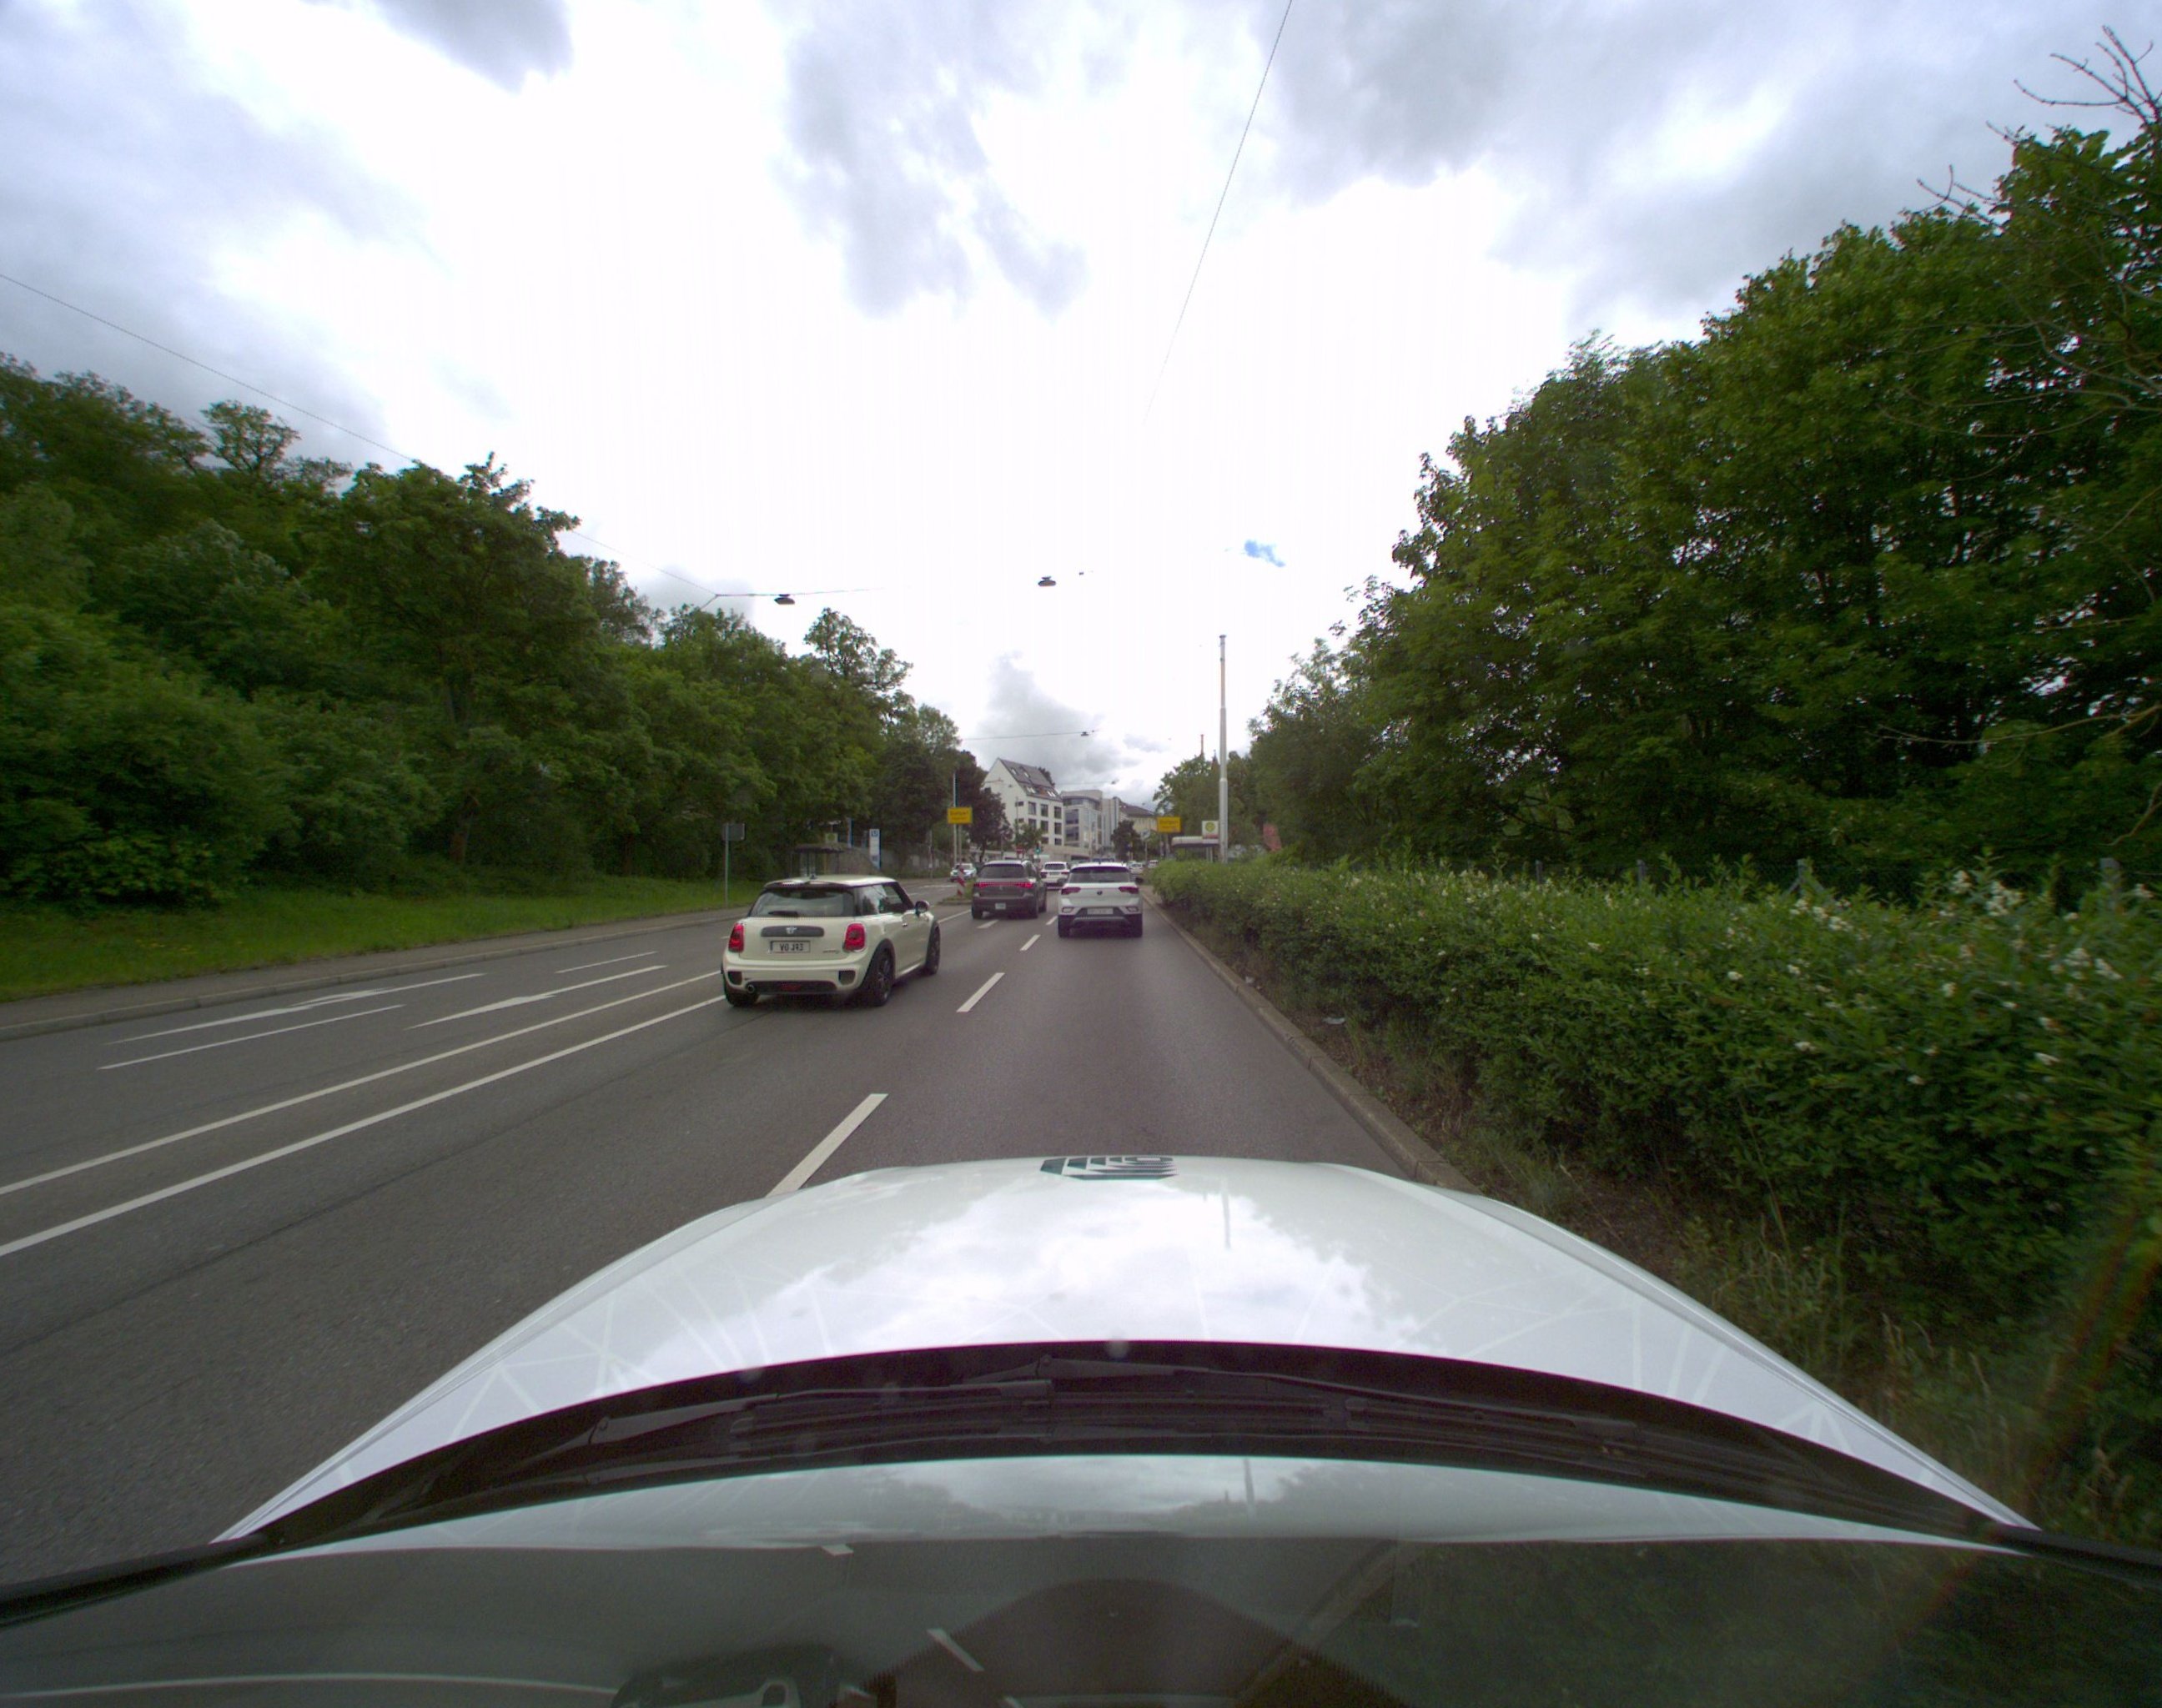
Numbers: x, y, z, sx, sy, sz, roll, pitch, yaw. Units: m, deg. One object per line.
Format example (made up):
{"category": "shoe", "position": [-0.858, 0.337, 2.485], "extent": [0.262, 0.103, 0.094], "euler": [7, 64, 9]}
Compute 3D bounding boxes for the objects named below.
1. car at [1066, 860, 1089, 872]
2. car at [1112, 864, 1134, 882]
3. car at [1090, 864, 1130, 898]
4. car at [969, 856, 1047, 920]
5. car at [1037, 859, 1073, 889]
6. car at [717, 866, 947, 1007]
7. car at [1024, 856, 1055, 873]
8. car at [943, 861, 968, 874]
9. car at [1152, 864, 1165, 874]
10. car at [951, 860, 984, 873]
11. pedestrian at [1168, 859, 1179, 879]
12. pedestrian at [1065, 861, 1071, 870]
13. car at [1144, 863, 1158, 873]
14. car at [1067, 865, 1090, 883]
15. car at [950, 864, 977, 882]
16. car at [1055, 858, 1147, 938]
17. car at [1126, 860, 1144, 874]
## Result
{"category": "car", "position": [-0.547, 2.015, 139.689], "extent": [1.965, 1.967, 5.246], "euler": [-1, -1, 23]}
{"category": "car", "position": [3.691, 1.640, 71.055], "extent": [1.865, 1.501, 4.558], "euler": [2, -1, 3]}
{"category": "car", "position": [1.366, 1.267, 39.737], "extent": [1.852, 1.500, 4.055], "euler": [-2, -1, 0]}
{"category": "car", "position": [-2.066, 0.939, 24.175], "extent": [1.807, 1.652, 4.636], "euler": [-2, -1, 0]}
{"category": "car", "position": [-1.447, 1.146, 47.527], "extent": [1.852, 1.652, 4.636], "euler": [-2, -1, 0]}
{"category": "car", "position": [-2.855, 0.874, 10.161], "extent": [1.621, 1.393, 3.567], "euler": [-2, -1, 2]}
{"category": "car", "position": [-6.391, 1.579, 127.200], "extent": [2.213, 2.568, 7.456], "euler": [-1, -1, 18]}
{"category": "car", "position": [-15.415, 1.699, 99.775], "extent": [2.712, 1.520, 1.552], "euler": [3, -2, -22]}
{"category": "car", "position": [11.975, 2.314, 125.647], "extent": [1.848, 1.500, 4.064], "euler": [-2, -1, 7]}
{"category": "car", "position": [-14.538, 1.549, 103.930], "extent": [4.119, 1.540, 1.593], "euler": [-1, -1, -10]}
{"category": "pedestrian", "position": [7.860, 1.297, 69.231], "extent": [0.687, 1.689, 0.623], "euler": [-3, -2, 23]}
{"category": "pedestrian", "position": [-2.269, 2.002, 140.644], "extent": [0.678, 1.640, 0.665], "euler": [1, -1, -31]}
{"category": "car", "position": [11.253, 2.308, 131.168], "extent": [1.846, 1.500, 4.067], "euler": [-2, -1, 10]}
{"category": "car", "position": [-0.197, 1.779, 71.799], "extent": [1.852, 1.500, 4.055], "euler": [-2, -1, 0]}
{"category": "car", "position": [-10.003, 1.610, 69.517], "extent": [1.724, 1.541, 4.041], "euler": [0, -1, -1]}
{"category": "car", "position": [0.418, 0.900, 18.092], "extent": [1.805, 1.539, 3.689], "euler": [-2, -1, 0]}
{"category": "car", "position": [6.148, 1.446, 92.870], "extent": [1.852, 1.500, 4.055], "euler": [-2, -1, 0]}
